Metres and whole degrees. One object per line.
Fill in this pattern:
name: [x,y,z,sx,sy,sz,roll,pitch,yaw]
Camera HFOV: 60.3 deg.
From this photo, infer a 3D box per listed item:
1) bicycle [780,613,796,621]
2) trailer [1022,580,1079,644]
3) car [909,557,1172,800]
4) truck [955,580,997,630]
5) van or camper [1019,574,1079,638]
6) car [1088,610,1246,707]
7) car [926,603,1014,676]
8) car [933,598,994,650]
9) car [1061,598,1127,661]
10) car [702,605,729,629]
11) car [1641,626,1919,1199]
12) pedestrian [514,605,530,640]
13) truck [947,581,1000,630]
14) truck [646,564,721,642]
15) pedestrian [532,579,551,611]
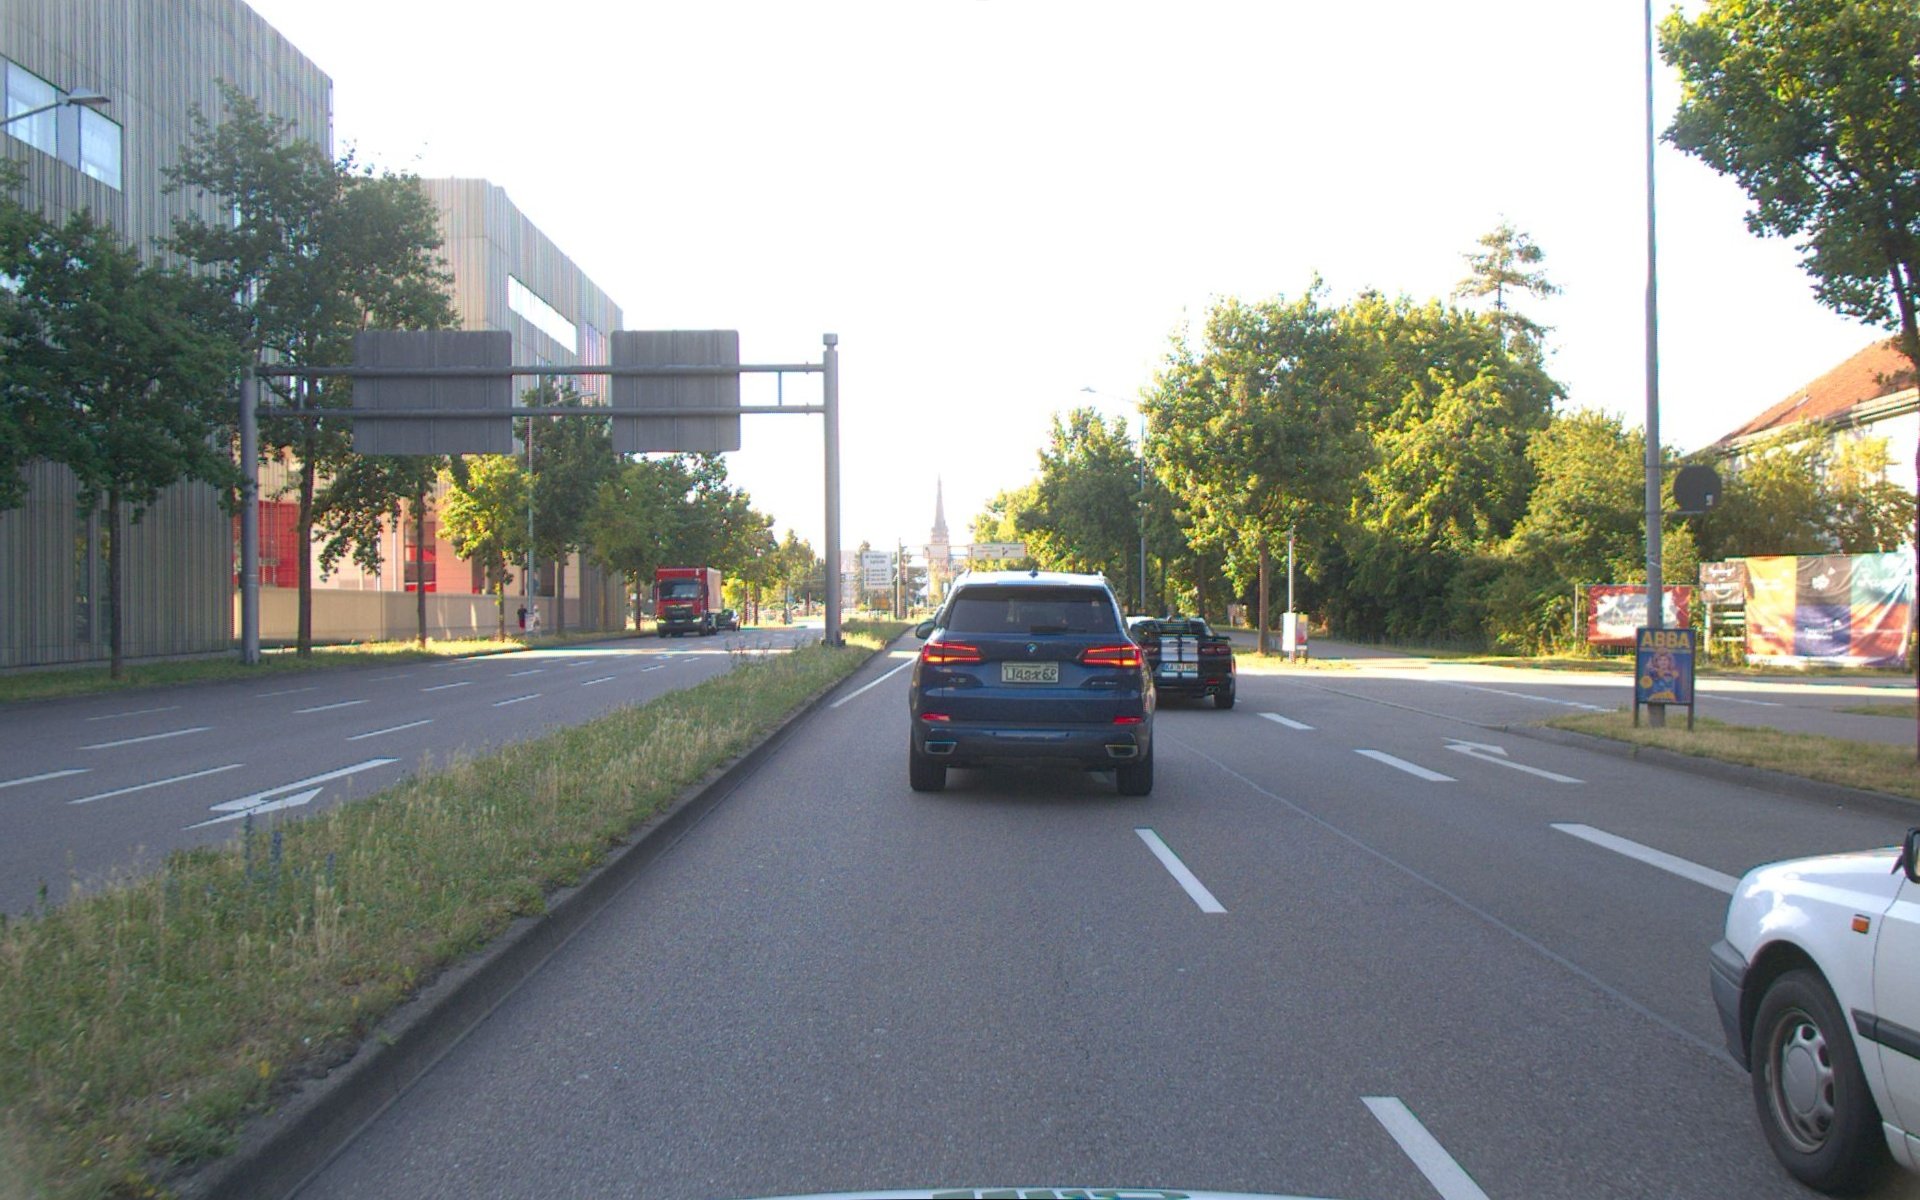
bicycle: [-21.673,2.107,208.583,1.868,1.037,0.505,0,-1,15]
trailer: [3.625,0.479,66.511,2.047,2.442,3.500,1,-1,-1]
car: [0.603,0.610,14.470,1.915,1.757,4.699,1,-1,0]
truck: [0.848,0.298,91.606,2.175,2.697,4.772,0,0,-2]
van or camper: [3.839,0.275,72.602,2.238,2.675,6.582,1,0,0]
car: [3.136,0.848,25.912,1.816,1.361,4.624,1,0,-1]
car: [0.262,0.832,36.260,1.710,1.499,3.821,-1,0,3]
car: [0.152,0.809,56.724,1.865,1.689,4.001,-1,-1,3]
car: [3.680,0.791,45.899,1.711,1.649,3.821,0,0,3]
car: [-16.250,1.092,109.991,1.565,1.539,3.863,0,0,-5]
car: [3.036,0.800,3.294,1.578,1.423,4.036,2,-1,-2]
pedestrian: [-23.210,1.186,87.625,0.619,1.873,0.716,0,-1,0]
truck: [0.728,0.323,92.665,2.529,2.603,6.247,-1,0,-3]
truck: [-14.477,0.163,87.282,2.939,3.878,10.080,0,0,-4]
pedestrian: [-21.964,-0.256,86.787,0.760,1.629,0.909,0,0,0]
